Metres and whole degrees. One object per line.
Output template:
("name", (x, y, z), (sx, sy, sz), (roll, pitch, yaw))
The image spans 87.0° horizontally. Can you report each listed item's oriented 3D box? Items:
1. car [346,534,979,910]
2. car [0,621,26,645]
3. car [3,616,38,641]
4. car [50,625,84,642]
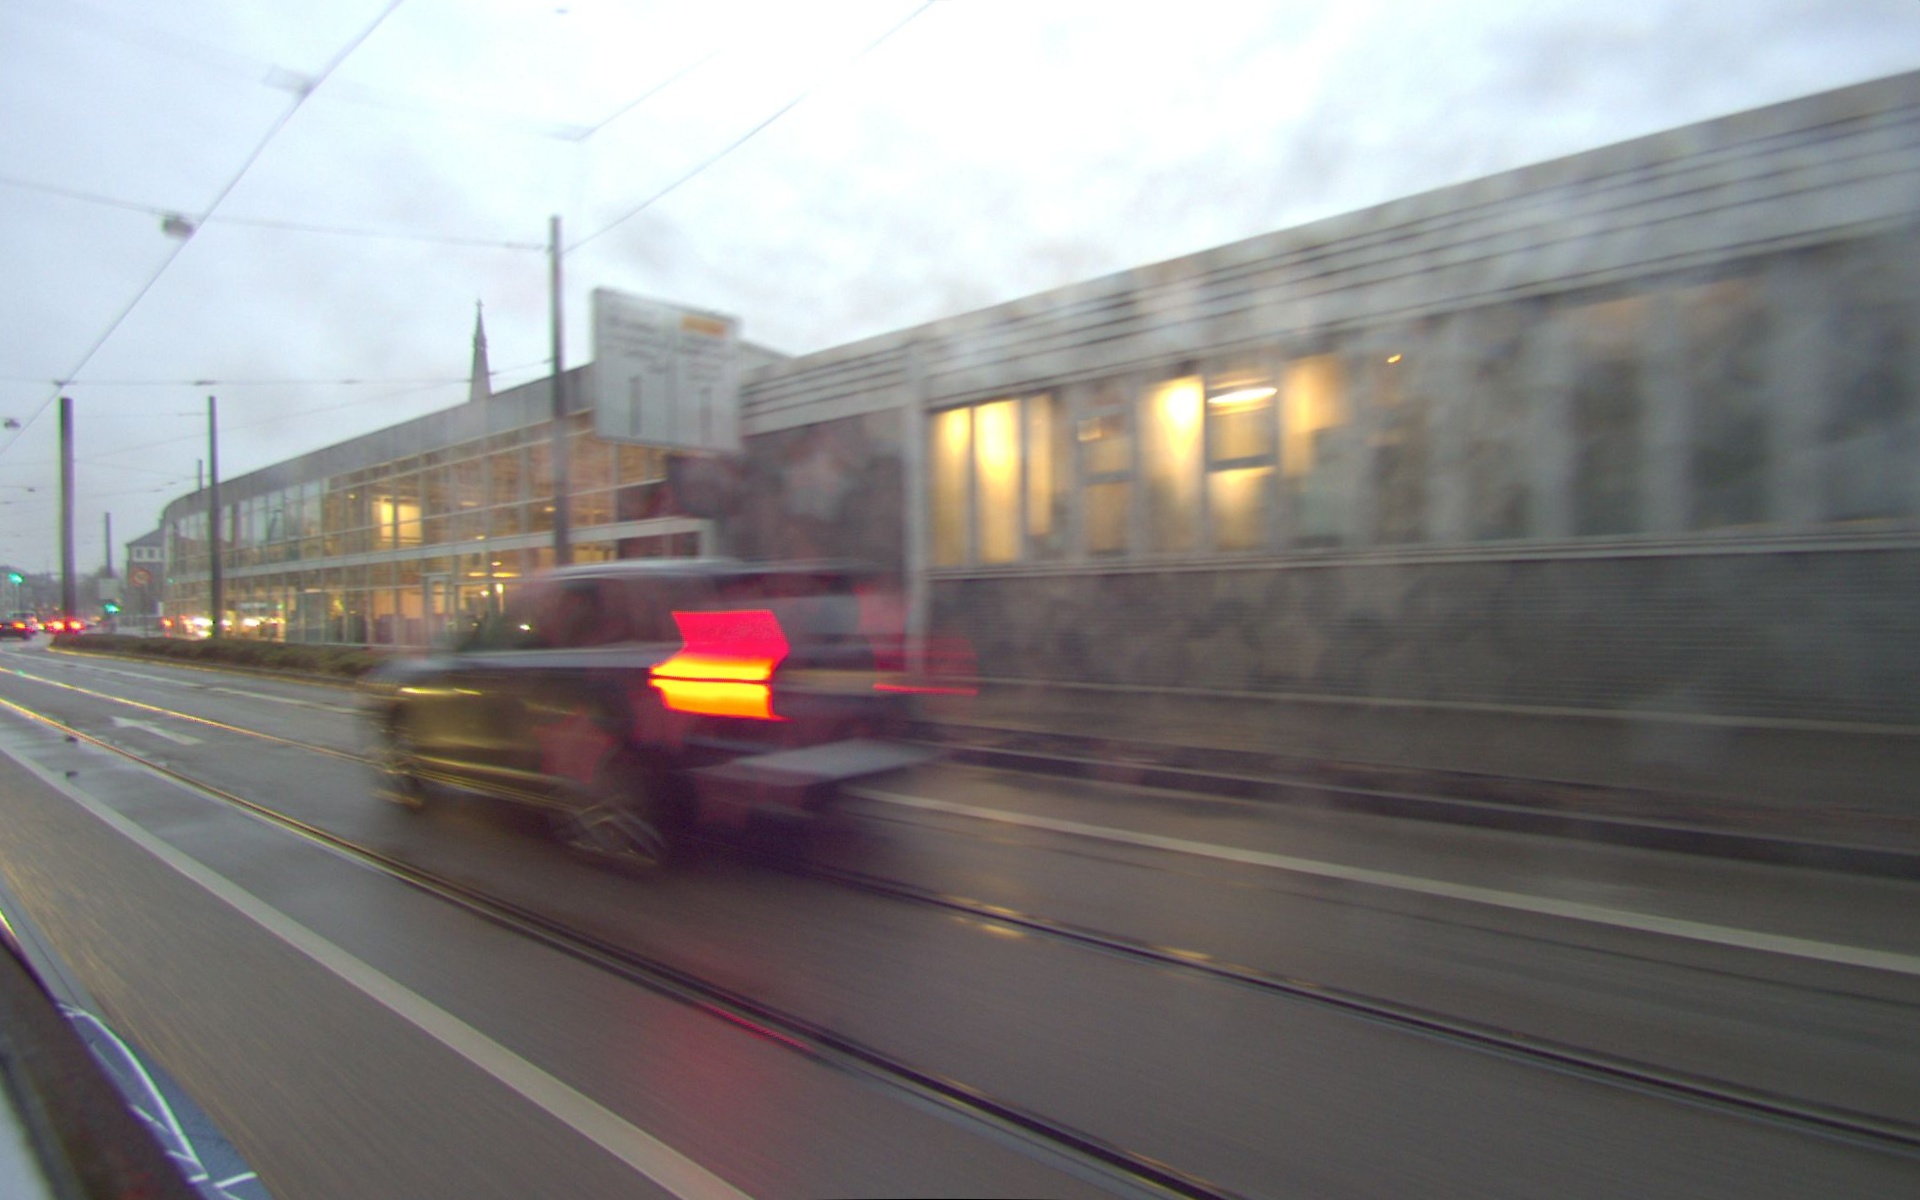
("car", (-2.294, 0.609, 6.909), (4.757, 1.723, 1.856), (-1, -1, 40))
("car", (-66.385, 2.261, 70.325), (4.442, 1.590, 1.821), (-1, -1, 43))
("car", (-81.776, 2.447, 88.062), (4.687, 2.029, 1.971), (-1, 1, 45))
("car", (-81.006, 3.024, 91.812), (4.589, 1.432, 1.971), (-1, 0, 44))
